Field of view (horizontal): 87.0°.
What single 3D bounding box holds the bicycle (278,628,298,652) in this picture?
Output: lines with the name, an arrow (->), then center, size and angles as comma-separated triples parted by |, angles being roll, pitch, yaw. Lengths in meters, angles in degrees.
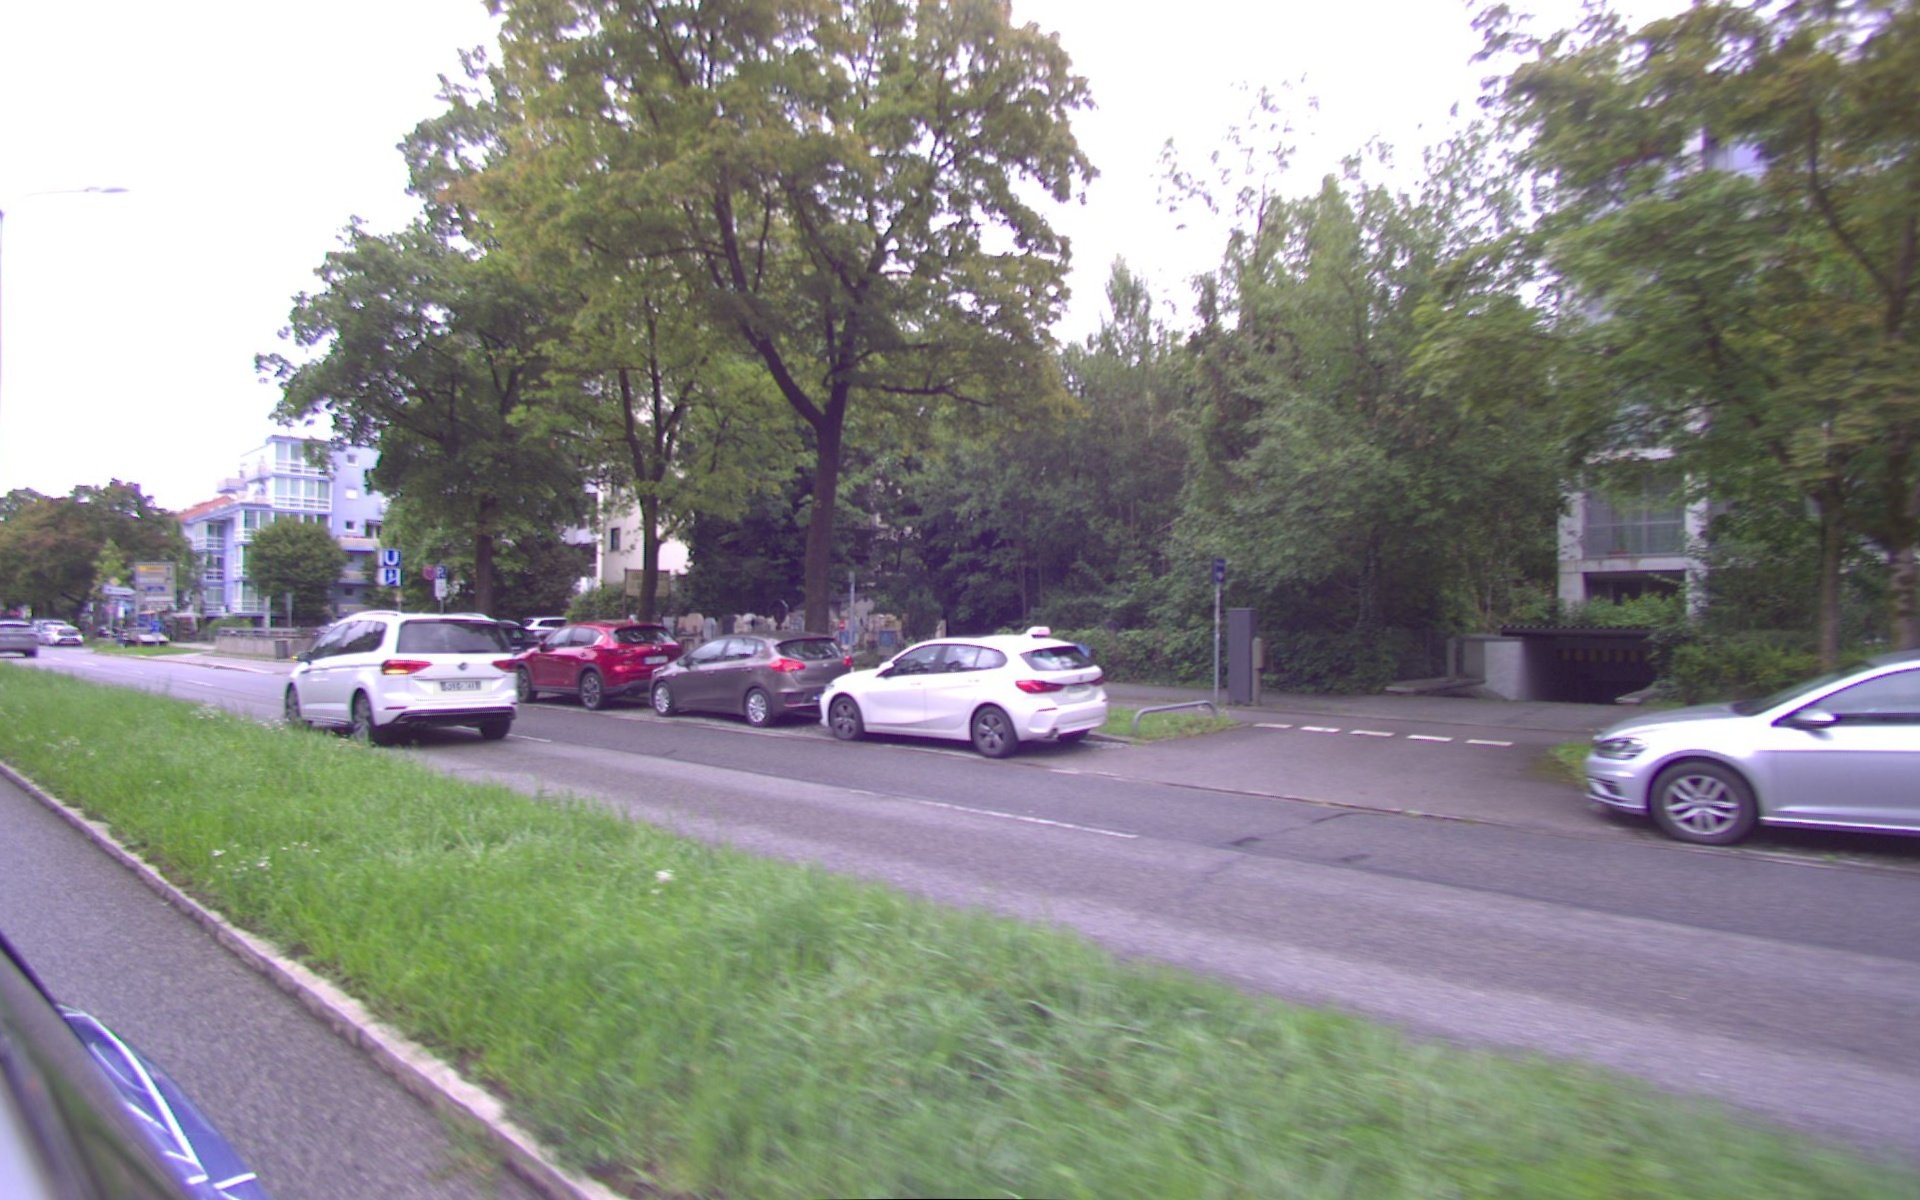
bicycle -> -33.418, 1.983, 50.308 | 1.955, 1.112, 0.403 | -2, 1, 44

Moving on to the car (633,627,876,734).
car -> -3.516, 1.238, 16.847 | 4.333, 1.494, 1.720 | -2, 0, 42

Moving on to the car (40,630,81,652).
car -> -65.471, 2.976, 73.652 | 3.899, 1.501, 1.630 | -1, -3, 40

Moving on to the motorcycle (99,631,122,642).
motorcycle -> -89.555, 3.845, 106.644 | 0.463, 1.179, 1.792 | -1, -2, 37

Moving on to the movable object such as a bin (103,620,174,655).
movable object such as a bin -> -47.661, 2.164, 58.704 | 3.992, 1.968, 2.173 | -1, -3, 36

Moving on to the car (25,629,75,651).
car -> -69.111, 2.999, 76.866 | 4.652, 1.628, 1.685 | -1, -3, 34

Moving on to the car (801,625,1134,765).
car -> -0.046, 1.140, 13.641 | 4.474, 1.541, 1.720 | -2, -1, 42

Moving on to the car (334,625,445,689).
car -> -15.854, 1.521, 28.051 | 3.819, 1.626, 1.629 | -2, -1, 43

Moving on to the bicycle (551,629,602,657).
bicycle -> -14.154, 1.578, 37.370 | 0.436, 1.014, 1.743 | -2, -3, 41

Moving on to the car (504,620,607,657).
car -> -18.106, 1.715, 45.410 | 1.749, 1.601, 3.943 | -2, -3, 43

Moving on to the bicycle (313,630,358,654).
bicycle -> -33.567, 2.259, 54.438 | 0.560, 1.111, 1.926 | -2, 1, 45

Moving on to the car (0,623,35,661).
car -> -43.111, 1.884, 45.536 | 4.375, 1.637, 1.747 | -1, -3, 42

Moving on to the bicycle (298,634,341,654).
bicycle -> -36.141, 2.476, 57.125 | 0.560, 1.112, 1.925 | -2, -3, 45

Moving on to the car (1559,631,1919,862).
car -> 7.196, 0.995, 7.192 | 4.820, 1.459, 1.718 | -1, 0, 41

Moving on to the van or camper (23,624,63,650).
van or camper -> -73.010, 2.928, 80.538 | 5.208, 1.983, 1.786 | -1, -3, 42

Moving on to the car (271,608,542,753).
car -> -7.582, 0.987, 13.684 | 4.349, 1.655, 1.815 | -1, -3, 41

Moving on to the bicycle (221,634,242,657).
bicycle -> -34.878, 2.162, 48.449 | 1.955, 1.086, 0.403 | -2, 1, 44

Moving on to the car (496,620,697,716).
car -> -7.386, 1.280, 20.329 | 4.603, 1.664, 1.721 | -2, 0, 40

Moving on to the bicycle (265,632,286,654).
bicycle -> -33.700, 2.118, 49.795 | 1.955, 1.038, 0.403 | -2, 1, 44

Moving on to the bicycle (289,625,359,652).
bicycle -> -36.695, 2.229, 58.464 | 0.788, 1.293, 3.289 | -2, 2, 45

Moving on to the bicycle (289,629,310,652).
bicycle -> -33.082, 2.003, 50.697 | 1.955, 1.105, 0.403 | -2, 1, 44
